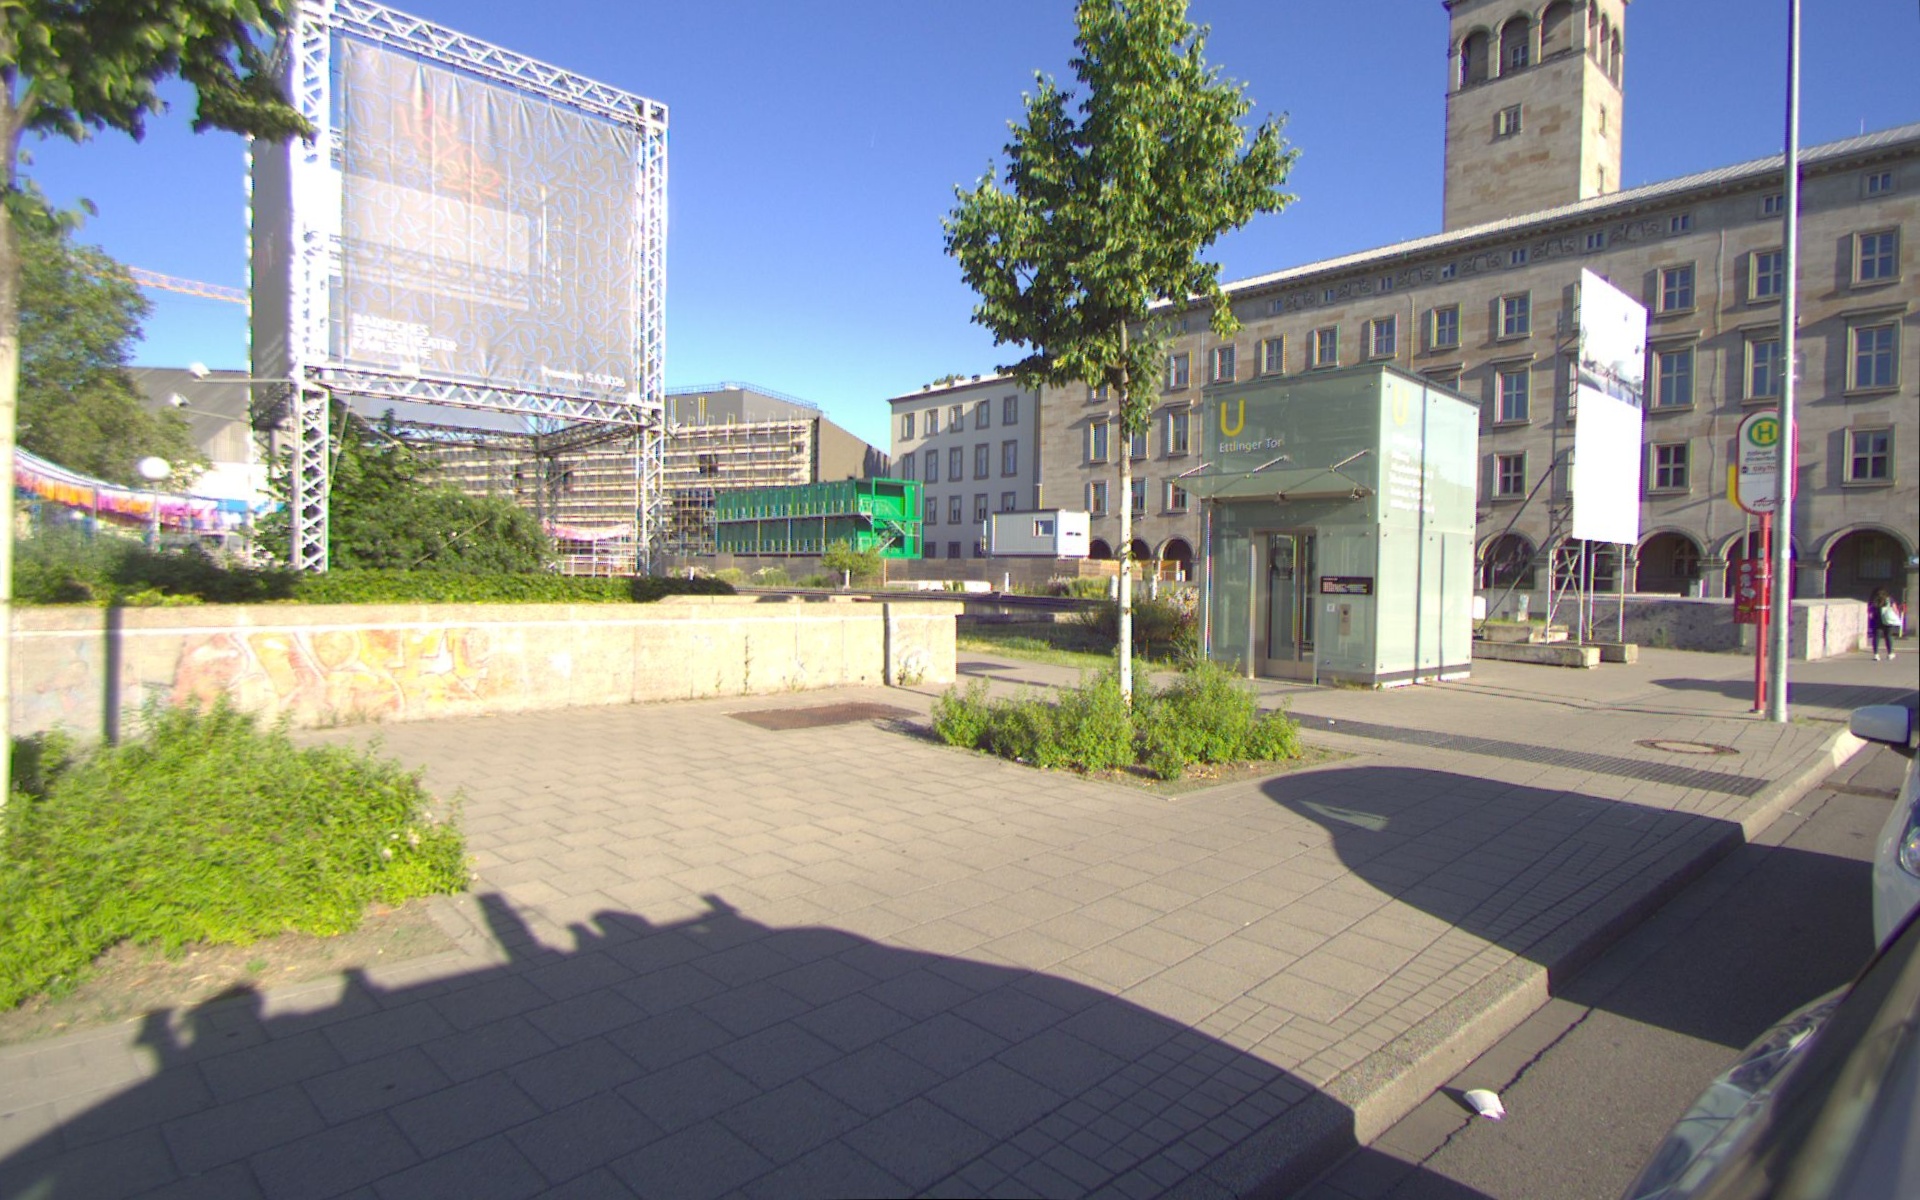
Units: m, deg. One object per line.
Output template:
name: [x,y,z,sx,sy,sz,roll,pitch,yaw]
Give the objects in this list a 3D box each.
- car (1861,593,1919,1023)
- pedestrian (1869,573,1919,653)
car: [5.196,0.708,4.062,3.817,1.467,1.679,0,0,-37]
pedestrian: [21.807,0.280,23.455,1.053,1.809,0.941,0,1,-41]
